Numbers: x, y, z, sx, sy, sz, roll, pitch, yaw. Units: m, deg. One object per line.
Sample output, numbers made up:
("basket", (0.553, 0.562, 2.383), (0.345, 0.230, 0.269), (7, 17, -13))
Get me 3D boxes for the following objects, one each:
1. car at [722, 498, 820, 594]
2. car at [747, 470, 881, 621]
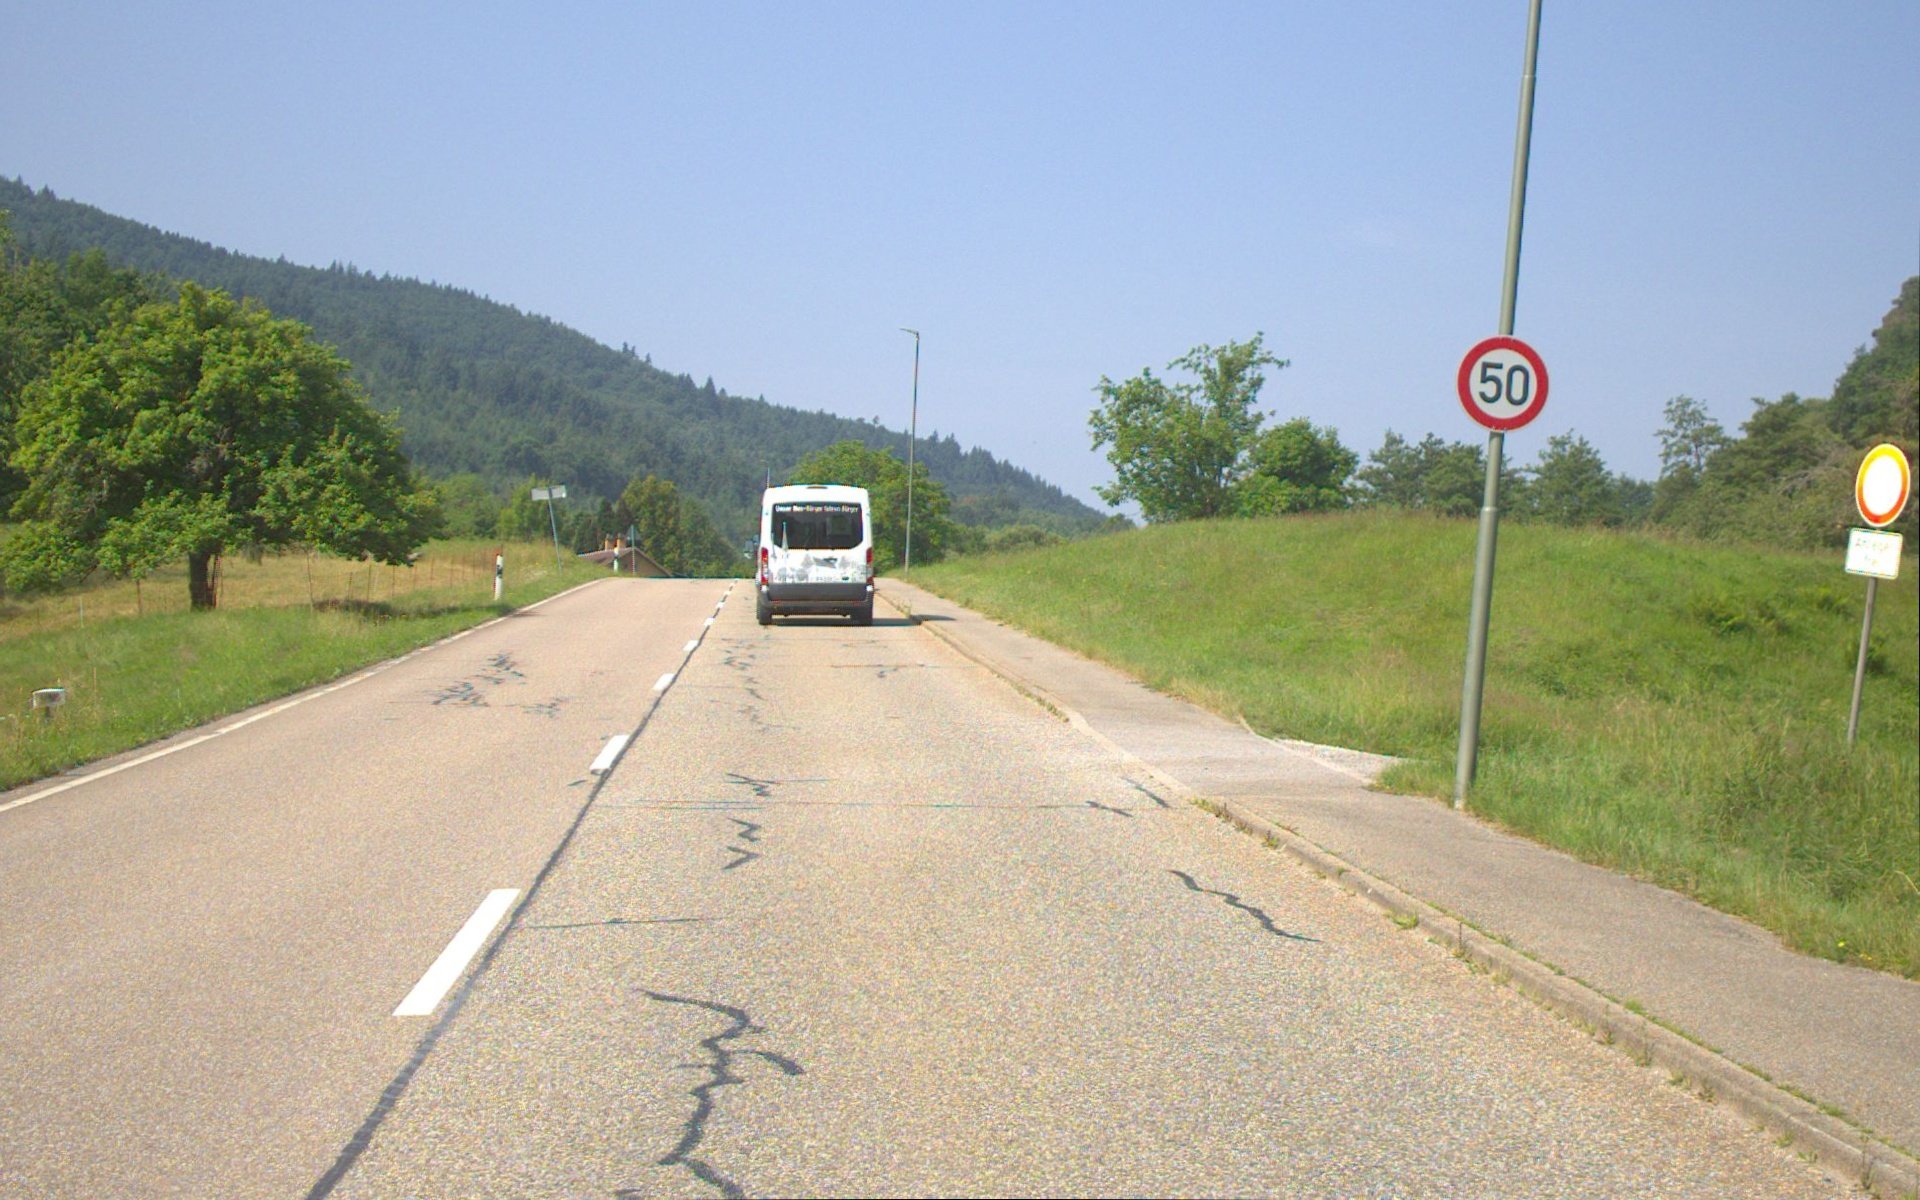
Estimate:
("car", (-4.940, -1.369, 89.284), (2.222, 2.279, 4.985), (-2, -1, -6))
("car", (-2.649, -0.925, 61.703), (2.222, 2.517, 4.985), (-2, -1, -3))
